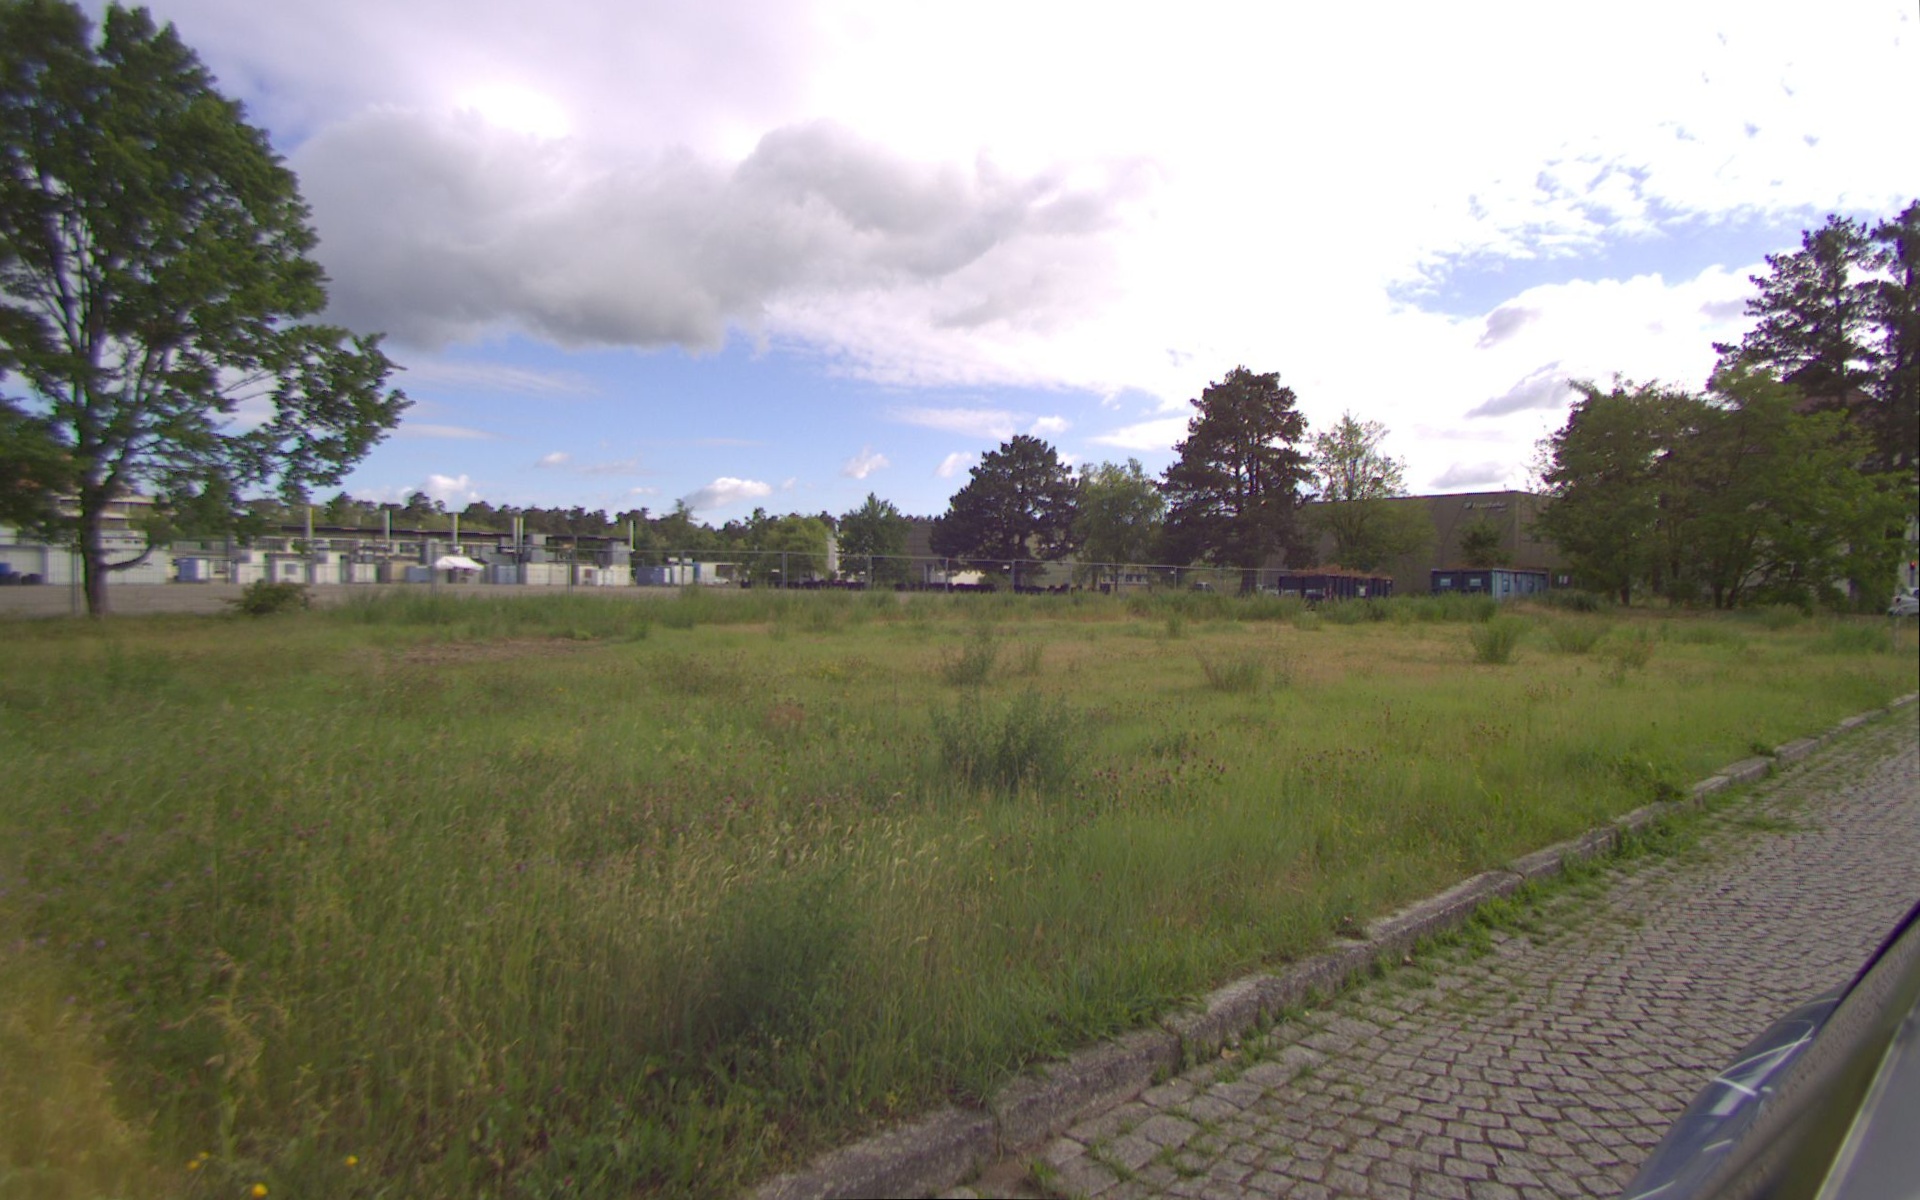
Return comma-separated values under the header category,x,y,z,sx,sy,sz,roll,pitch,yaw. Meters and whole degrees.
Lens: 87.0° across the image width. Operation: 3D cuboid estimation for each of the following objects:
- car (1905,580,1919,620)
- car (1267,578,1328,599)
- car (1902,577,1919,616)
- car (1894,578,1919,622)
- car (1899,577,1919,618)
category,x,y,z,sx,sy,sz,roll,pitch,yaw
car,38.157,0.129,37.712,1.853,1.470,4.082,0,4,-42
car,25.549,-0.912,76.695,1.939,1.501,3.993,0,1,-42
car,41.790,0.001,41.446,1.873,1.584,4.502,0,4,-42
car,36.125,0.114,35.994,1.773,1.533,4.082,0,4,-42
car,39.919,0.019,39.775,1.854,1.615,4.247,0,4,-43
